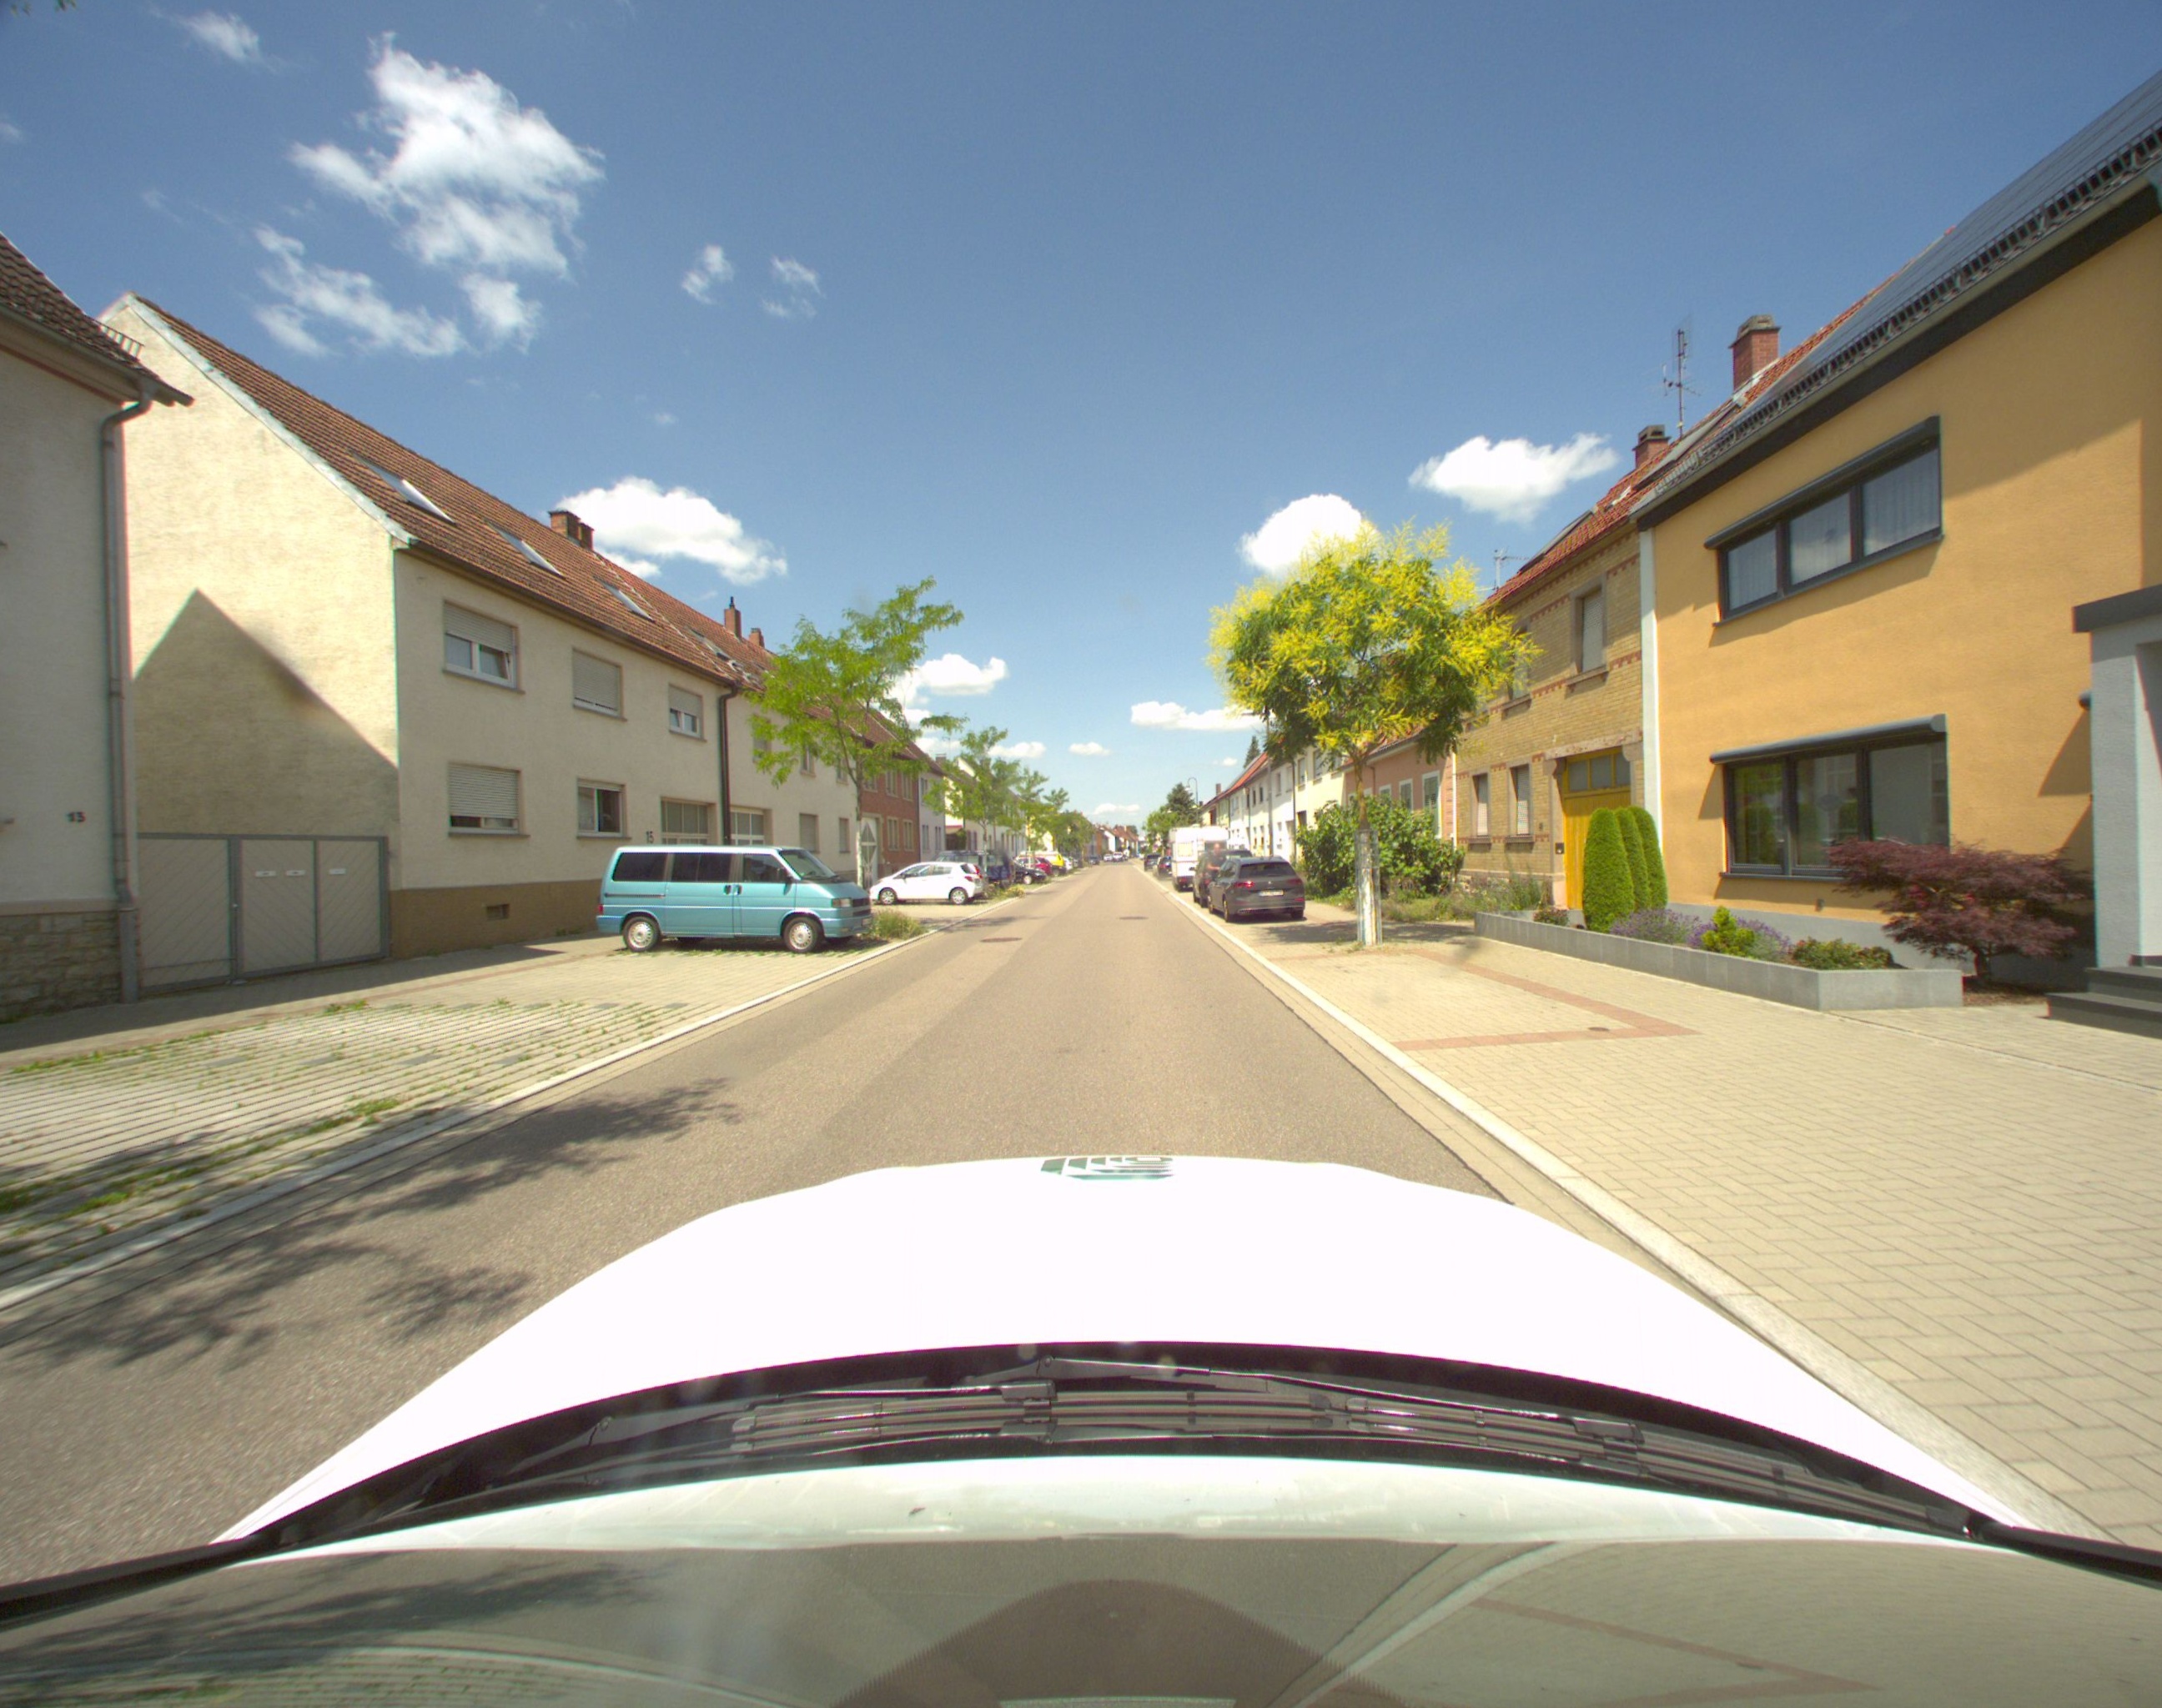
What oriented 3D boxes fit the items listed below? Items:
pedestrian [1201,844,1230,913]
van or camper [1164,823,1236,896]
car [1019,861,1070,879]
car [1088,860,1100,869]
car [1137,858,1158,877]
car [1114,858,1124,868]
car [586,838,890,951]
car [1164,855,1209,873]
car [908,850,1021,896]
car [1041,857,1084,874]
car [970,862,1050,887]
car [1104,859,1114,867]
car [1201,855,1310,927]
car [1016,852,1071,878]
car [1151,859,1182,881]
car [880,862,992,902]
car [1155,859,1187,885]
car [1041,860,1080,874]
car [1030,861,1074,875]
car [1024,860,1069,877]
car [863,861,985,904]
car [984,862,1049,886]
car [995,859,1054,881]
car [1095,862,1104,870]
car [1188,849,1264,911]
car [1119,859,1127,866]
[{"bbox_3d":[3.674,0.665,22.307,0.713,1.853,0.578,-1,-1,3],"label":"pedestrian"},{"bbox_3d":[5.052,0.222,35.475,2.463,2.810,5.794,-2,0,3],"label":"van or camper"},{"bbox_3d":[-2.969,1.294,66.950,3.993,1.459,1.756,0,-1,2],"label":"car"},{"bbox_3d":[2.167,1.736,136.408,1.810,1.433,4.140,3,1,0],"label":"car"},{"bbox_3d":[6.335,1.282,77.570,1.855,1.635,4.452,-3,0,5],"label":"car"},{"bbox_3d":[7.497,1.755,161.472,2.015,1.950,4.900,-1,-1,2],"label":"car"},{"bbox_3d":[-6.110,0.700,14.920,4.657,1.907,2.001,0,-1,3],"label":"car"},{"bbox_3d":[11.252,1.034,87.288,4.602,1.894,2.021,0,-1,1],"label":"car"},{"bbox_3d":[-5.104,0.823,36.012,4.592,1.996,1.955,0,-1,4],"label":"car"},{"bbox_3d":[-2.068,1.300,91.812,4.681,1.923,1.939,0,-1,2],"label":"car"},{"bbox_3d":[-4.180,1.194,48.369,4.506,1.425,1.797,0,-1,2],"label":"car"},{"bbox_3d":[6.352,2.035,185.389,1.841,1.659,4.006,1,-1,6],"label":"car"},{"bbox_3d":[4.024,0.804,19.469,1.760,1.488,4.297,-1,-1,1],"label":"car"},{"bbox_3d":[-3.189,0.930,69.469,4.490,2.177,1.926,0,-1,2],"label":"car"},{"bbox_3d":[5.997,1.088,57.644,1.826,1.465,4.520,-1,-1,1],"label":"car"},{"bbox_3d":[-5.514,1.042,31.337,3.898,1.488,1.775,0,-1,4],"label":"car"},{"bbox_3d":[5.496,1.090,50.258,1.759,1.529,4.010,-1,-1,3],"label":"car"},{"bbox_3d":[-2.185,1.426,88.862,4.171,1.569,1.773,0,-1,-1],"label":"car"},{"bbox_3d":[-2.888,1.415,82.000,4.275,1.468,1.776,0,-1,4],"label":"car"},{"bbox_3d":[-3.140,1.309,73.984,4.066,1.468,1.750,0,-1,-6],"label":"car"},{"bbox_3d":[-5.497,0.998,28.885,3.898,1.488,1.775,0,-1,4],"label":"car"},{"bbox_3d":[-4.123,1.257,52.344,4.040,1.478,1.775,0,-1,0],"label":"car"},{"bbox_3d":[-4.216,1.201,61.567,4.237,1.611,1.843,0,-1,2],"label":"car"},{"bbox_3d":[3.911,2.435,171.918,1.803,1.609,4.003,1,-1,3],"label":"car"},{"bbox_3d":[4.328,0.740,24.873,1.759,1.705,4.328,-1,-1,3],"label":"car"},{"bbox_3d":[9.607,2.001,187.473,1.756,1.523,4.051,-3,-1,2],"label":"car"}]
